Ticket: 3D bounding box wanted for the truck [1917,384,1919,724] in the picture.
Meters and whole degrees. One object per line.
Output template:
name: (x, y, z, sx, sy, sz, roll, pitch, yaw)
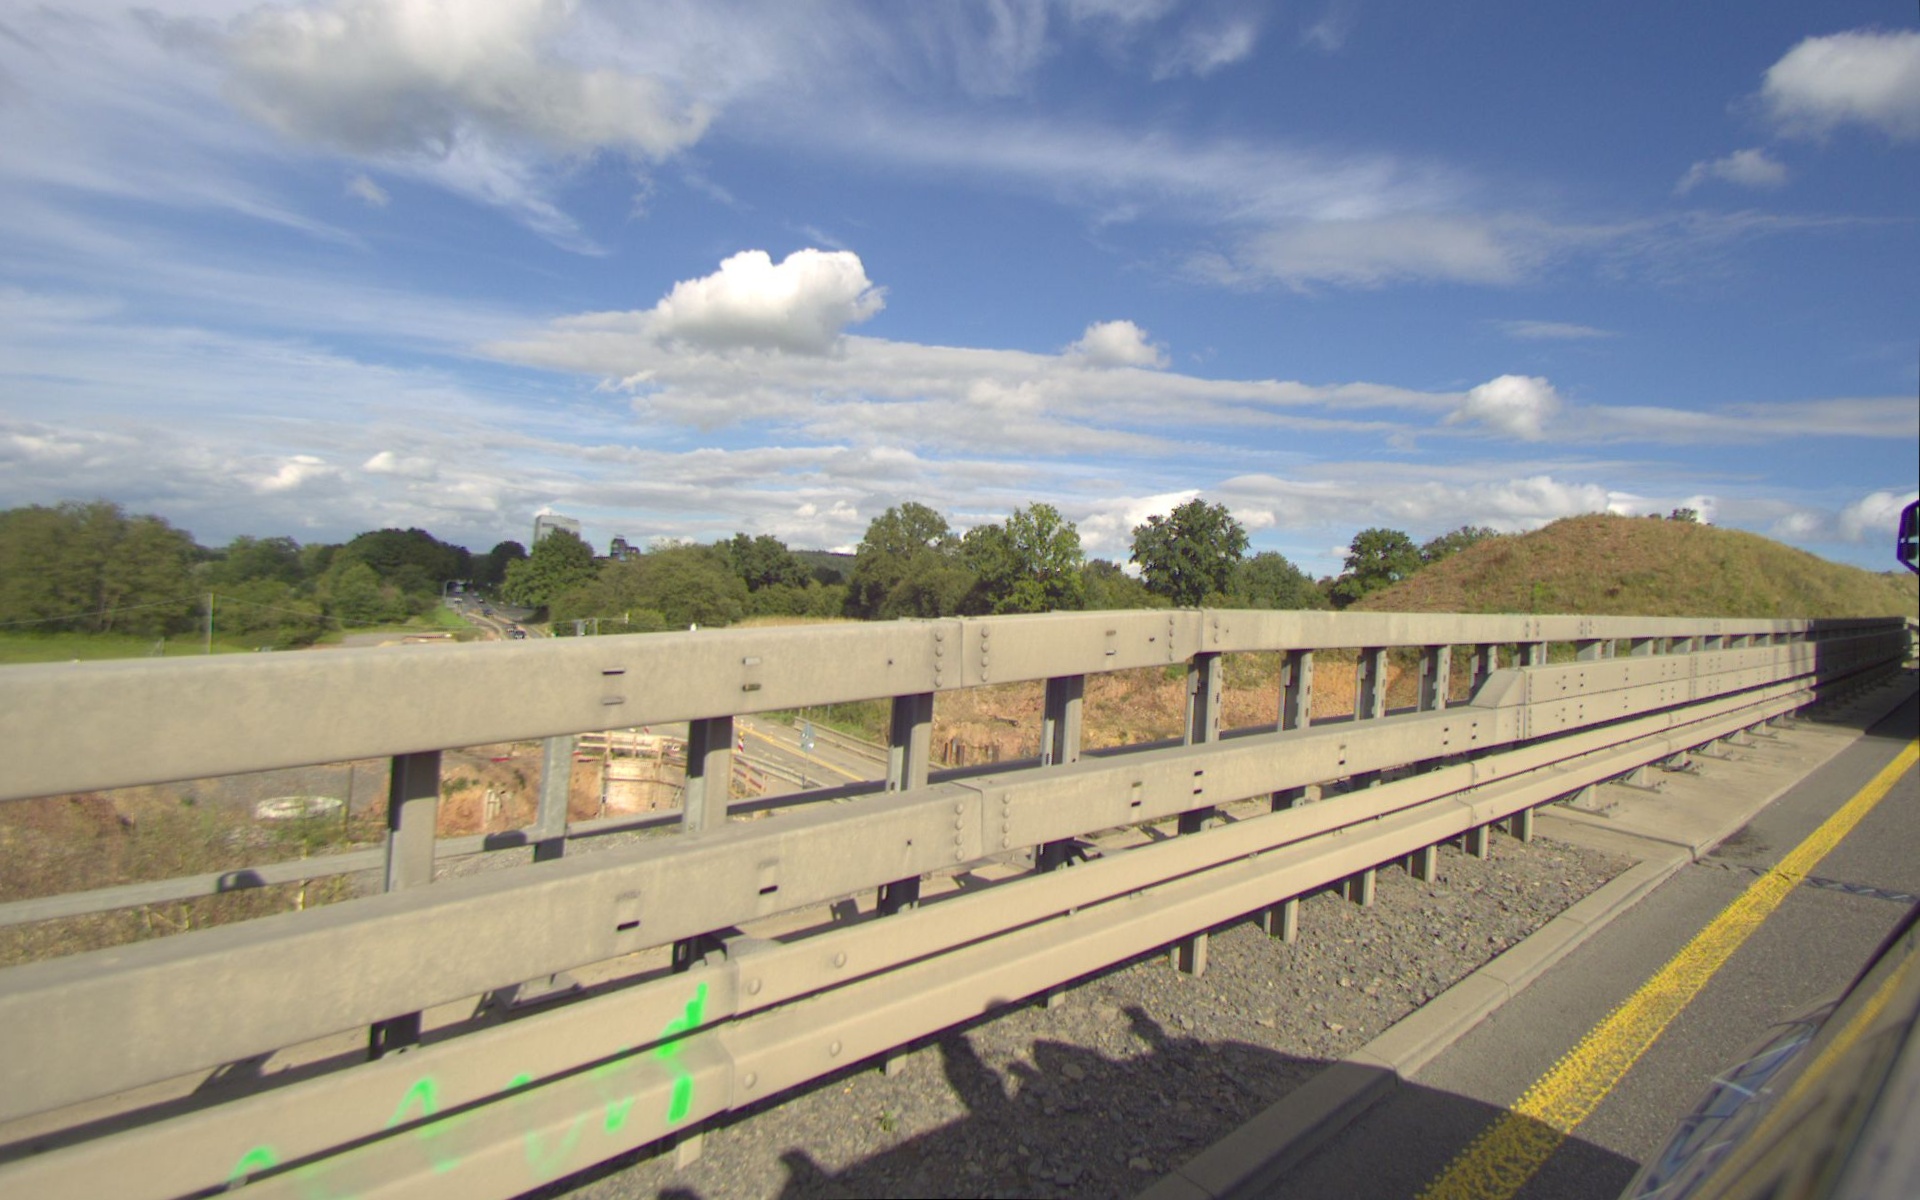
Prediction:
truck: (15.598, -0.546, 14.061, 10.142, 3.896, 2.660, 0, 0, -43)
